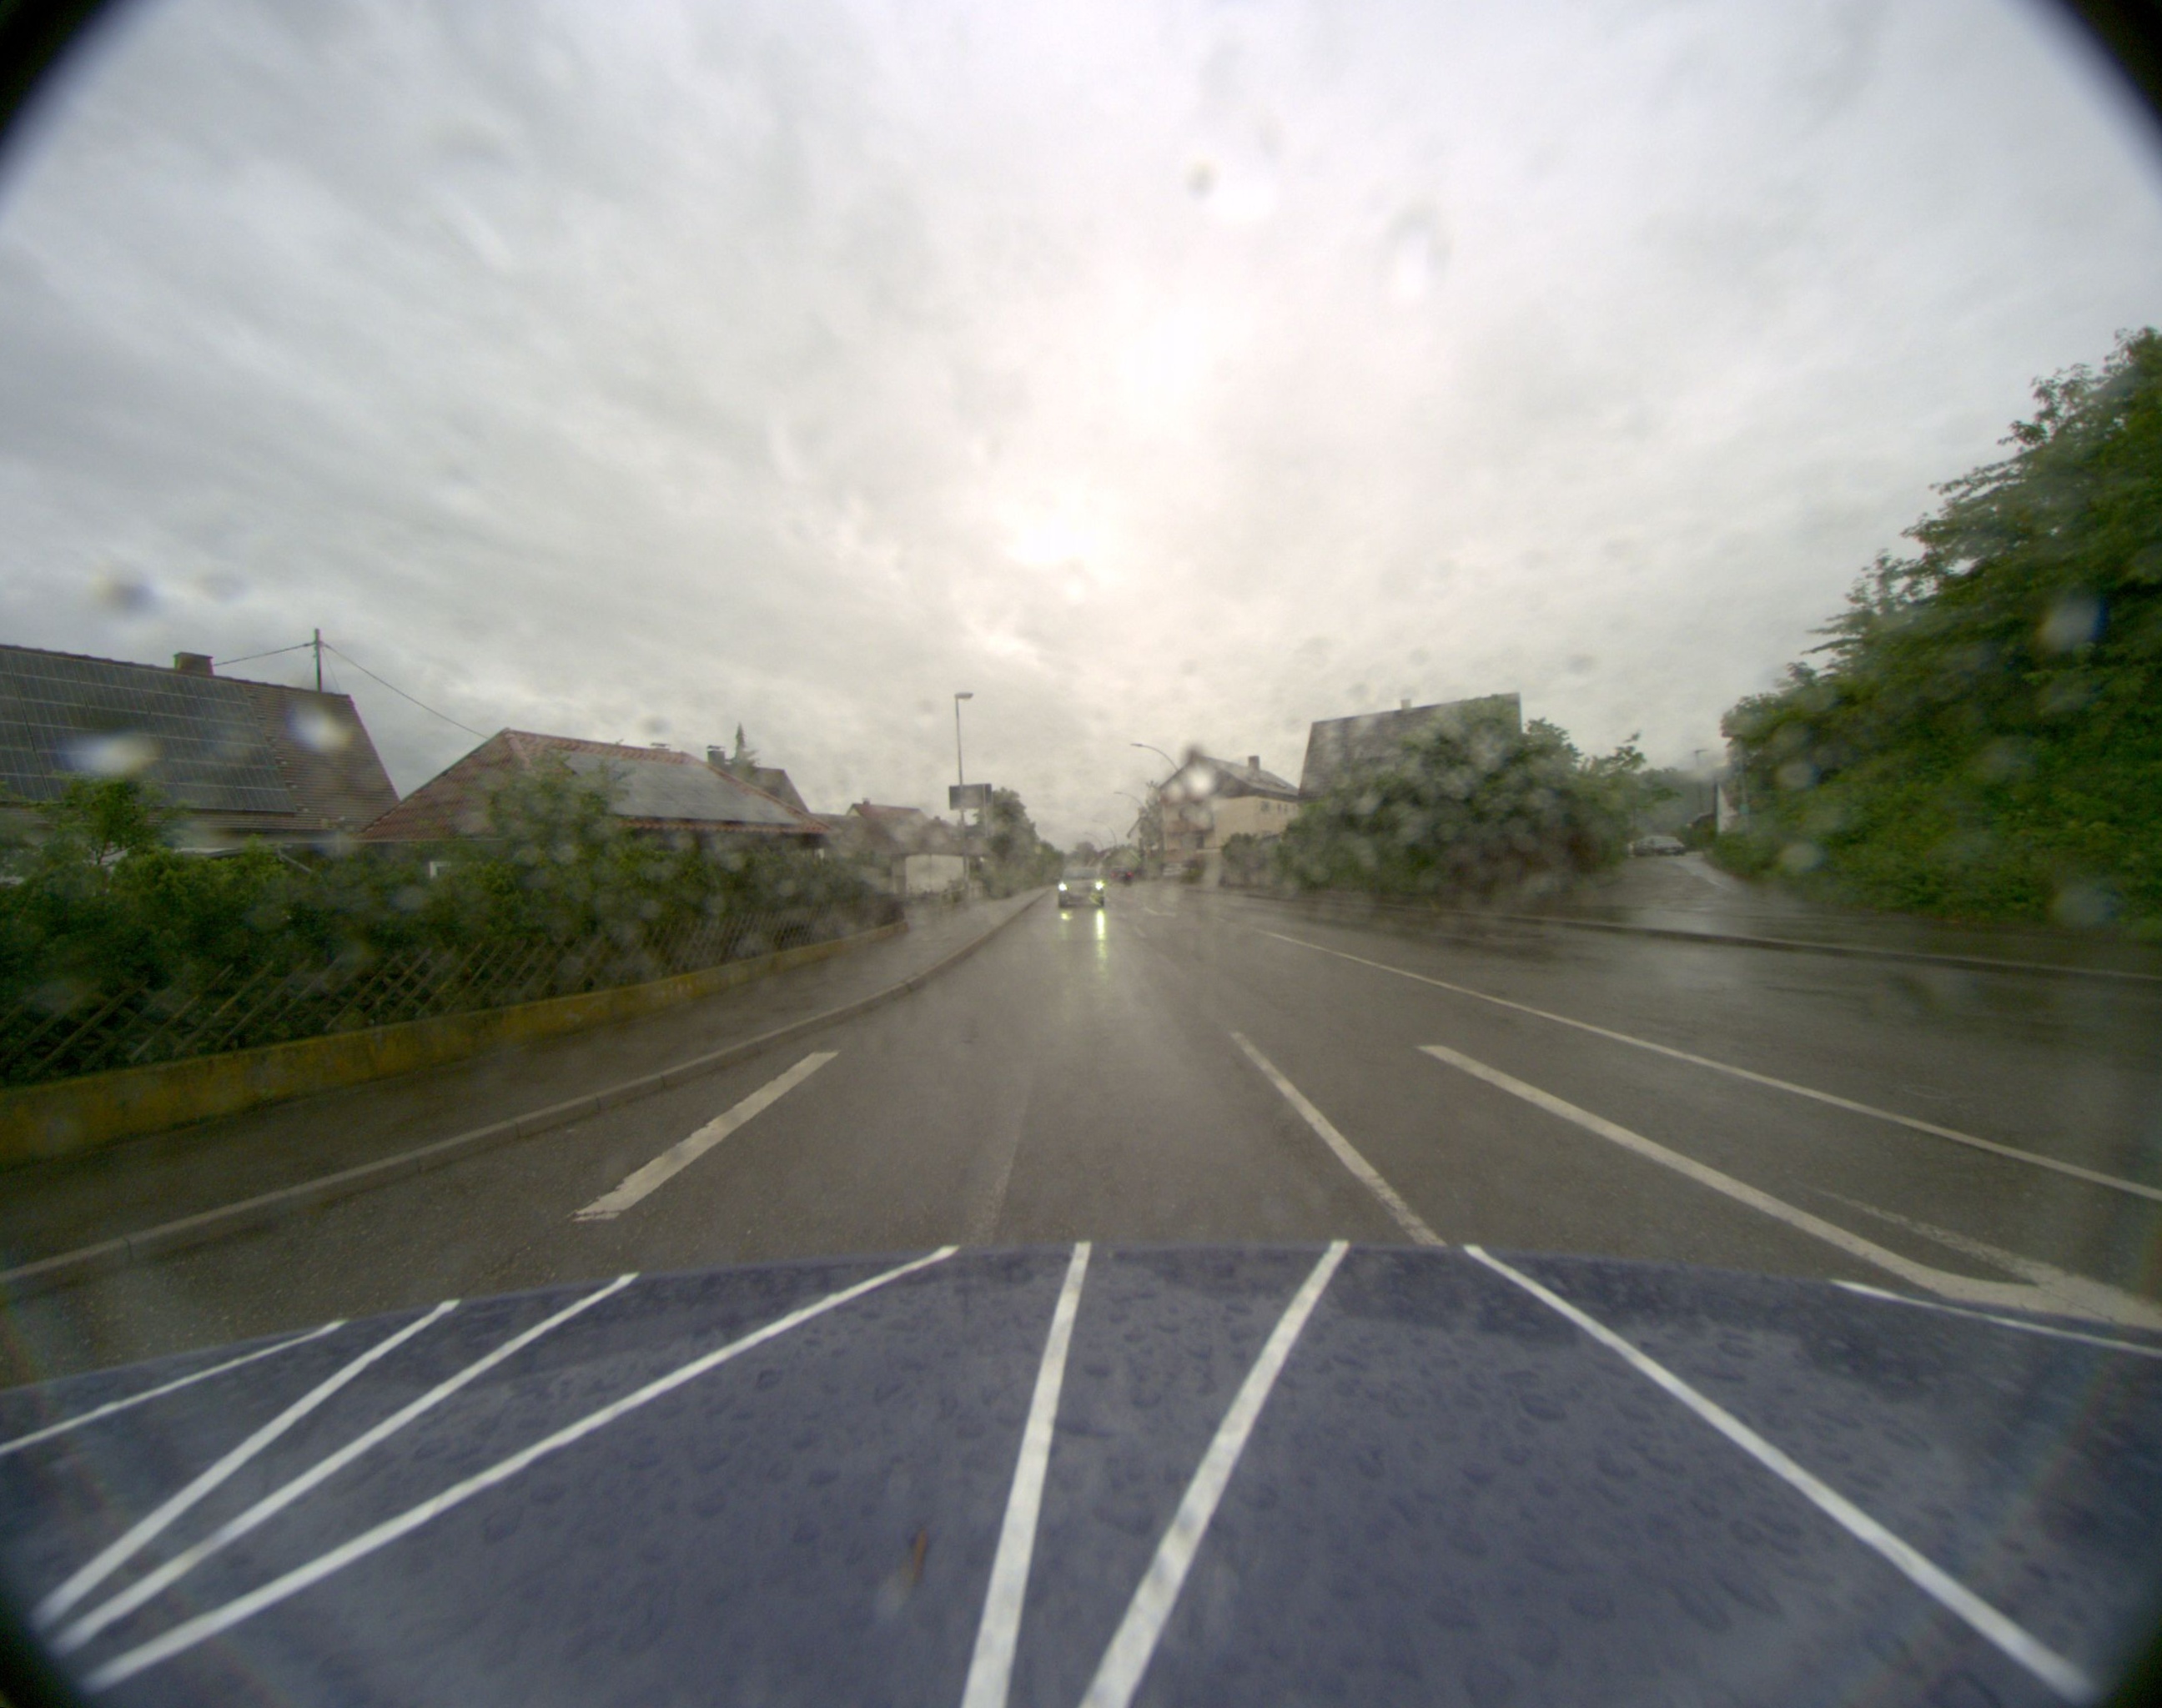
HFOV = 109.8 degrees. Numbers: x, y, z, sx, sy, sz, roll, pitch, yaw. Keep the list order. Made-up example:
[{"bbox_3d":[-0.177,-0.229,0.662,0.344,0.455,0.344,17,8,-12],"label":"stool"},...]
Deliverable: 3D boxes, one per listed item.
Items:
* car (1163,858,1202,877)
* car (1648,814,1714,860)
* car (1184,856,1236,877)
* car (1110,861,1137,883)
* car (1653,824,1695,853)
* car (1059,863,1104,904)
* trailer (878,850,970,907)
[{"bbox_3d":[8.968,1.193,66.946,1.864,1.510,4.007,-3,0,32],"label":"car"},{"bbox_3d":[22.962,-0.652,29.027,1.706,1.579,3.669,-2,0,42],"label":"car"},{"bbox_3d":[10.377,0.985,61.254,3.661,1.510,1.758,-3,0,35],"label":"car"},{"bbox_3d":[3.532,1.475,64.411,1.998,1.658,4.416,-3,0,0],"label":"car"},{"bbox_3d":[41.127,-1.058,52.663,1.995,1.848,4.008,-3,0,41],"label":"car"},{"bbox_3d":[0.020,1.189,31.547,1.687,1.486,3.939,-3,0,0],"label":"car"},{"bbox_3d":[-7.570,1.119,37.111,1.645,2.502,4.712,-4,-1,29],"label":"trailer"}]
